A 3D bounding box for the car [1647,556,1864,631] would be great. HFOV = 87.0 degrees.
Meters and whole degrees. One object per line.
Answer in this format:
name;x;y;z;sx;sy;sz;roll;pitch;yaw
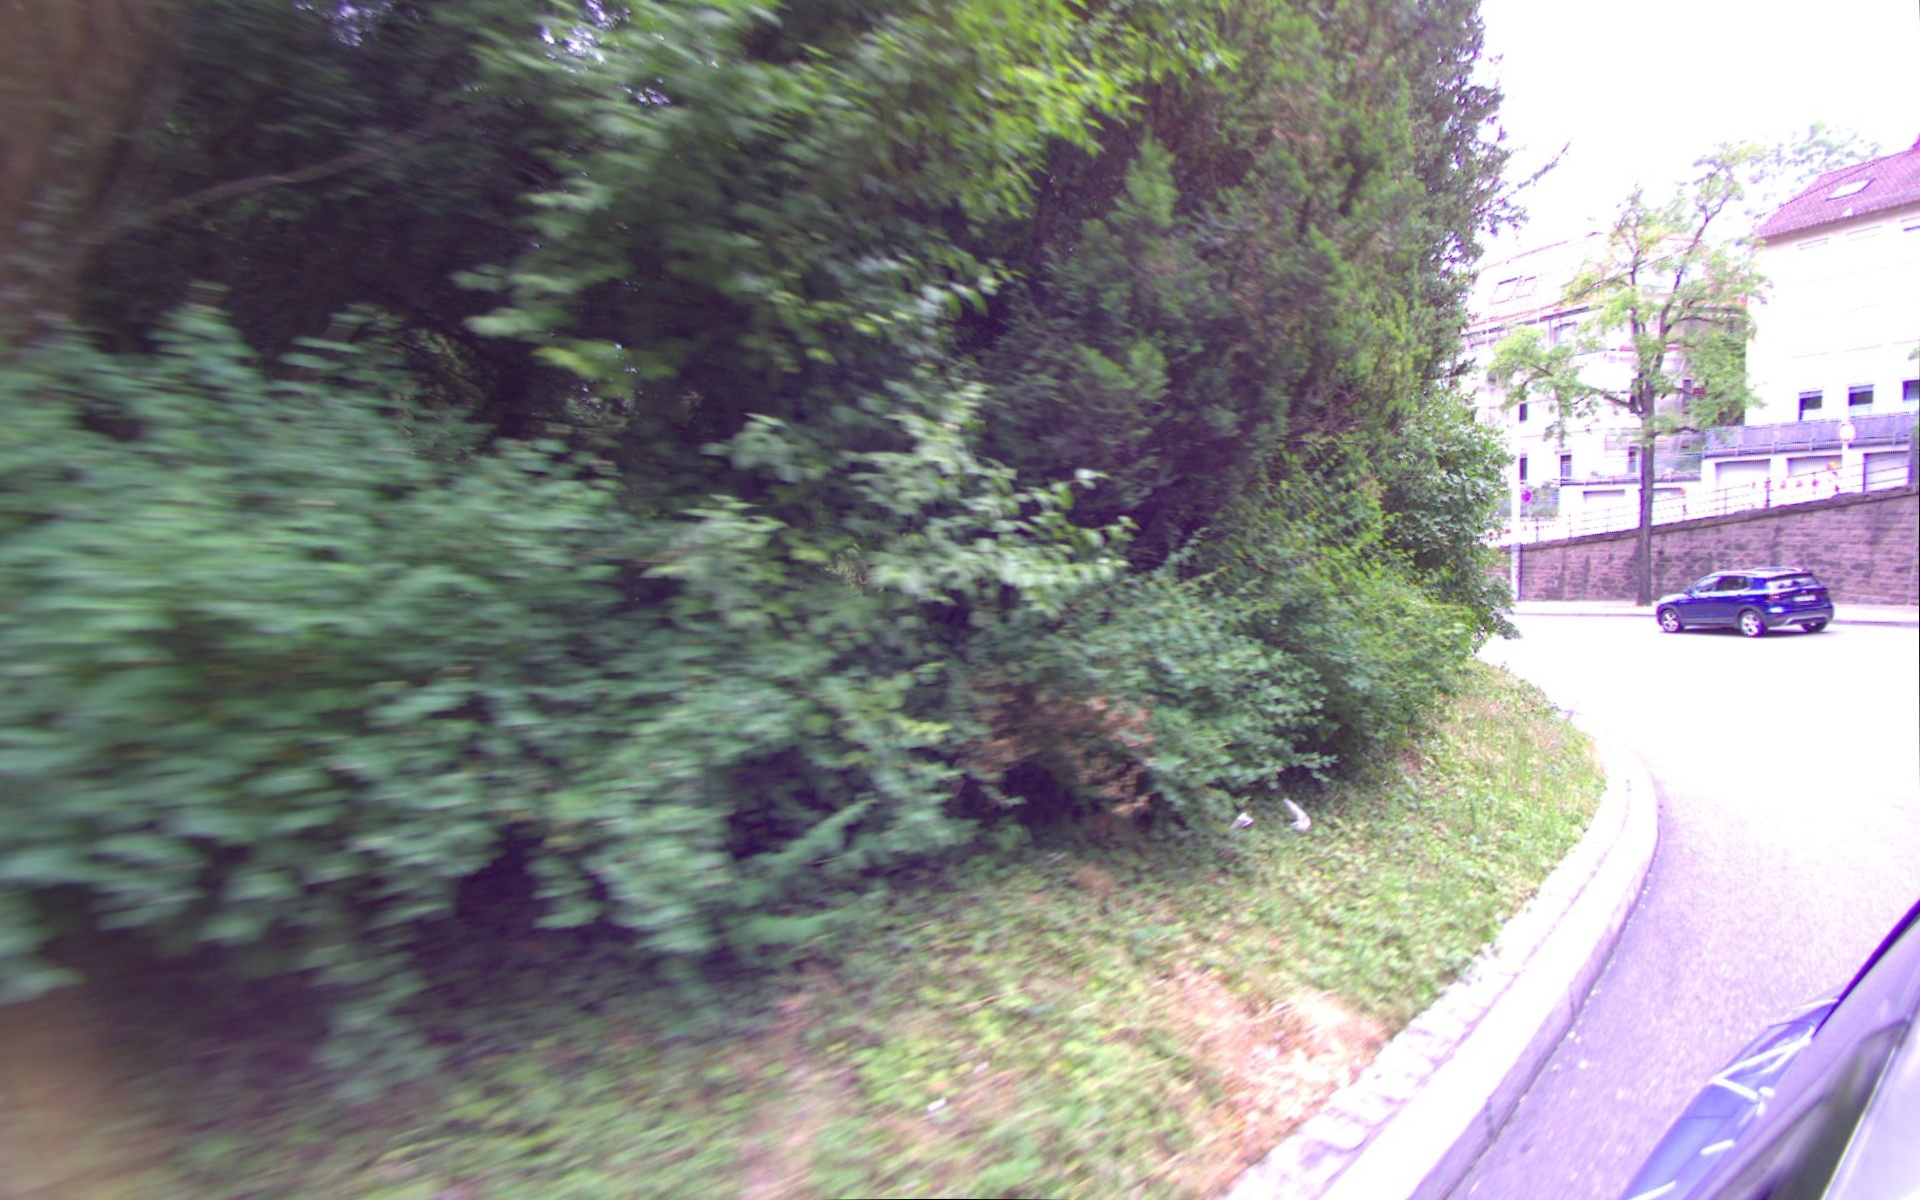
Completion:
car;19.620;-0.145;25.235;1.698;1.546;4.205;-5;0;-5
